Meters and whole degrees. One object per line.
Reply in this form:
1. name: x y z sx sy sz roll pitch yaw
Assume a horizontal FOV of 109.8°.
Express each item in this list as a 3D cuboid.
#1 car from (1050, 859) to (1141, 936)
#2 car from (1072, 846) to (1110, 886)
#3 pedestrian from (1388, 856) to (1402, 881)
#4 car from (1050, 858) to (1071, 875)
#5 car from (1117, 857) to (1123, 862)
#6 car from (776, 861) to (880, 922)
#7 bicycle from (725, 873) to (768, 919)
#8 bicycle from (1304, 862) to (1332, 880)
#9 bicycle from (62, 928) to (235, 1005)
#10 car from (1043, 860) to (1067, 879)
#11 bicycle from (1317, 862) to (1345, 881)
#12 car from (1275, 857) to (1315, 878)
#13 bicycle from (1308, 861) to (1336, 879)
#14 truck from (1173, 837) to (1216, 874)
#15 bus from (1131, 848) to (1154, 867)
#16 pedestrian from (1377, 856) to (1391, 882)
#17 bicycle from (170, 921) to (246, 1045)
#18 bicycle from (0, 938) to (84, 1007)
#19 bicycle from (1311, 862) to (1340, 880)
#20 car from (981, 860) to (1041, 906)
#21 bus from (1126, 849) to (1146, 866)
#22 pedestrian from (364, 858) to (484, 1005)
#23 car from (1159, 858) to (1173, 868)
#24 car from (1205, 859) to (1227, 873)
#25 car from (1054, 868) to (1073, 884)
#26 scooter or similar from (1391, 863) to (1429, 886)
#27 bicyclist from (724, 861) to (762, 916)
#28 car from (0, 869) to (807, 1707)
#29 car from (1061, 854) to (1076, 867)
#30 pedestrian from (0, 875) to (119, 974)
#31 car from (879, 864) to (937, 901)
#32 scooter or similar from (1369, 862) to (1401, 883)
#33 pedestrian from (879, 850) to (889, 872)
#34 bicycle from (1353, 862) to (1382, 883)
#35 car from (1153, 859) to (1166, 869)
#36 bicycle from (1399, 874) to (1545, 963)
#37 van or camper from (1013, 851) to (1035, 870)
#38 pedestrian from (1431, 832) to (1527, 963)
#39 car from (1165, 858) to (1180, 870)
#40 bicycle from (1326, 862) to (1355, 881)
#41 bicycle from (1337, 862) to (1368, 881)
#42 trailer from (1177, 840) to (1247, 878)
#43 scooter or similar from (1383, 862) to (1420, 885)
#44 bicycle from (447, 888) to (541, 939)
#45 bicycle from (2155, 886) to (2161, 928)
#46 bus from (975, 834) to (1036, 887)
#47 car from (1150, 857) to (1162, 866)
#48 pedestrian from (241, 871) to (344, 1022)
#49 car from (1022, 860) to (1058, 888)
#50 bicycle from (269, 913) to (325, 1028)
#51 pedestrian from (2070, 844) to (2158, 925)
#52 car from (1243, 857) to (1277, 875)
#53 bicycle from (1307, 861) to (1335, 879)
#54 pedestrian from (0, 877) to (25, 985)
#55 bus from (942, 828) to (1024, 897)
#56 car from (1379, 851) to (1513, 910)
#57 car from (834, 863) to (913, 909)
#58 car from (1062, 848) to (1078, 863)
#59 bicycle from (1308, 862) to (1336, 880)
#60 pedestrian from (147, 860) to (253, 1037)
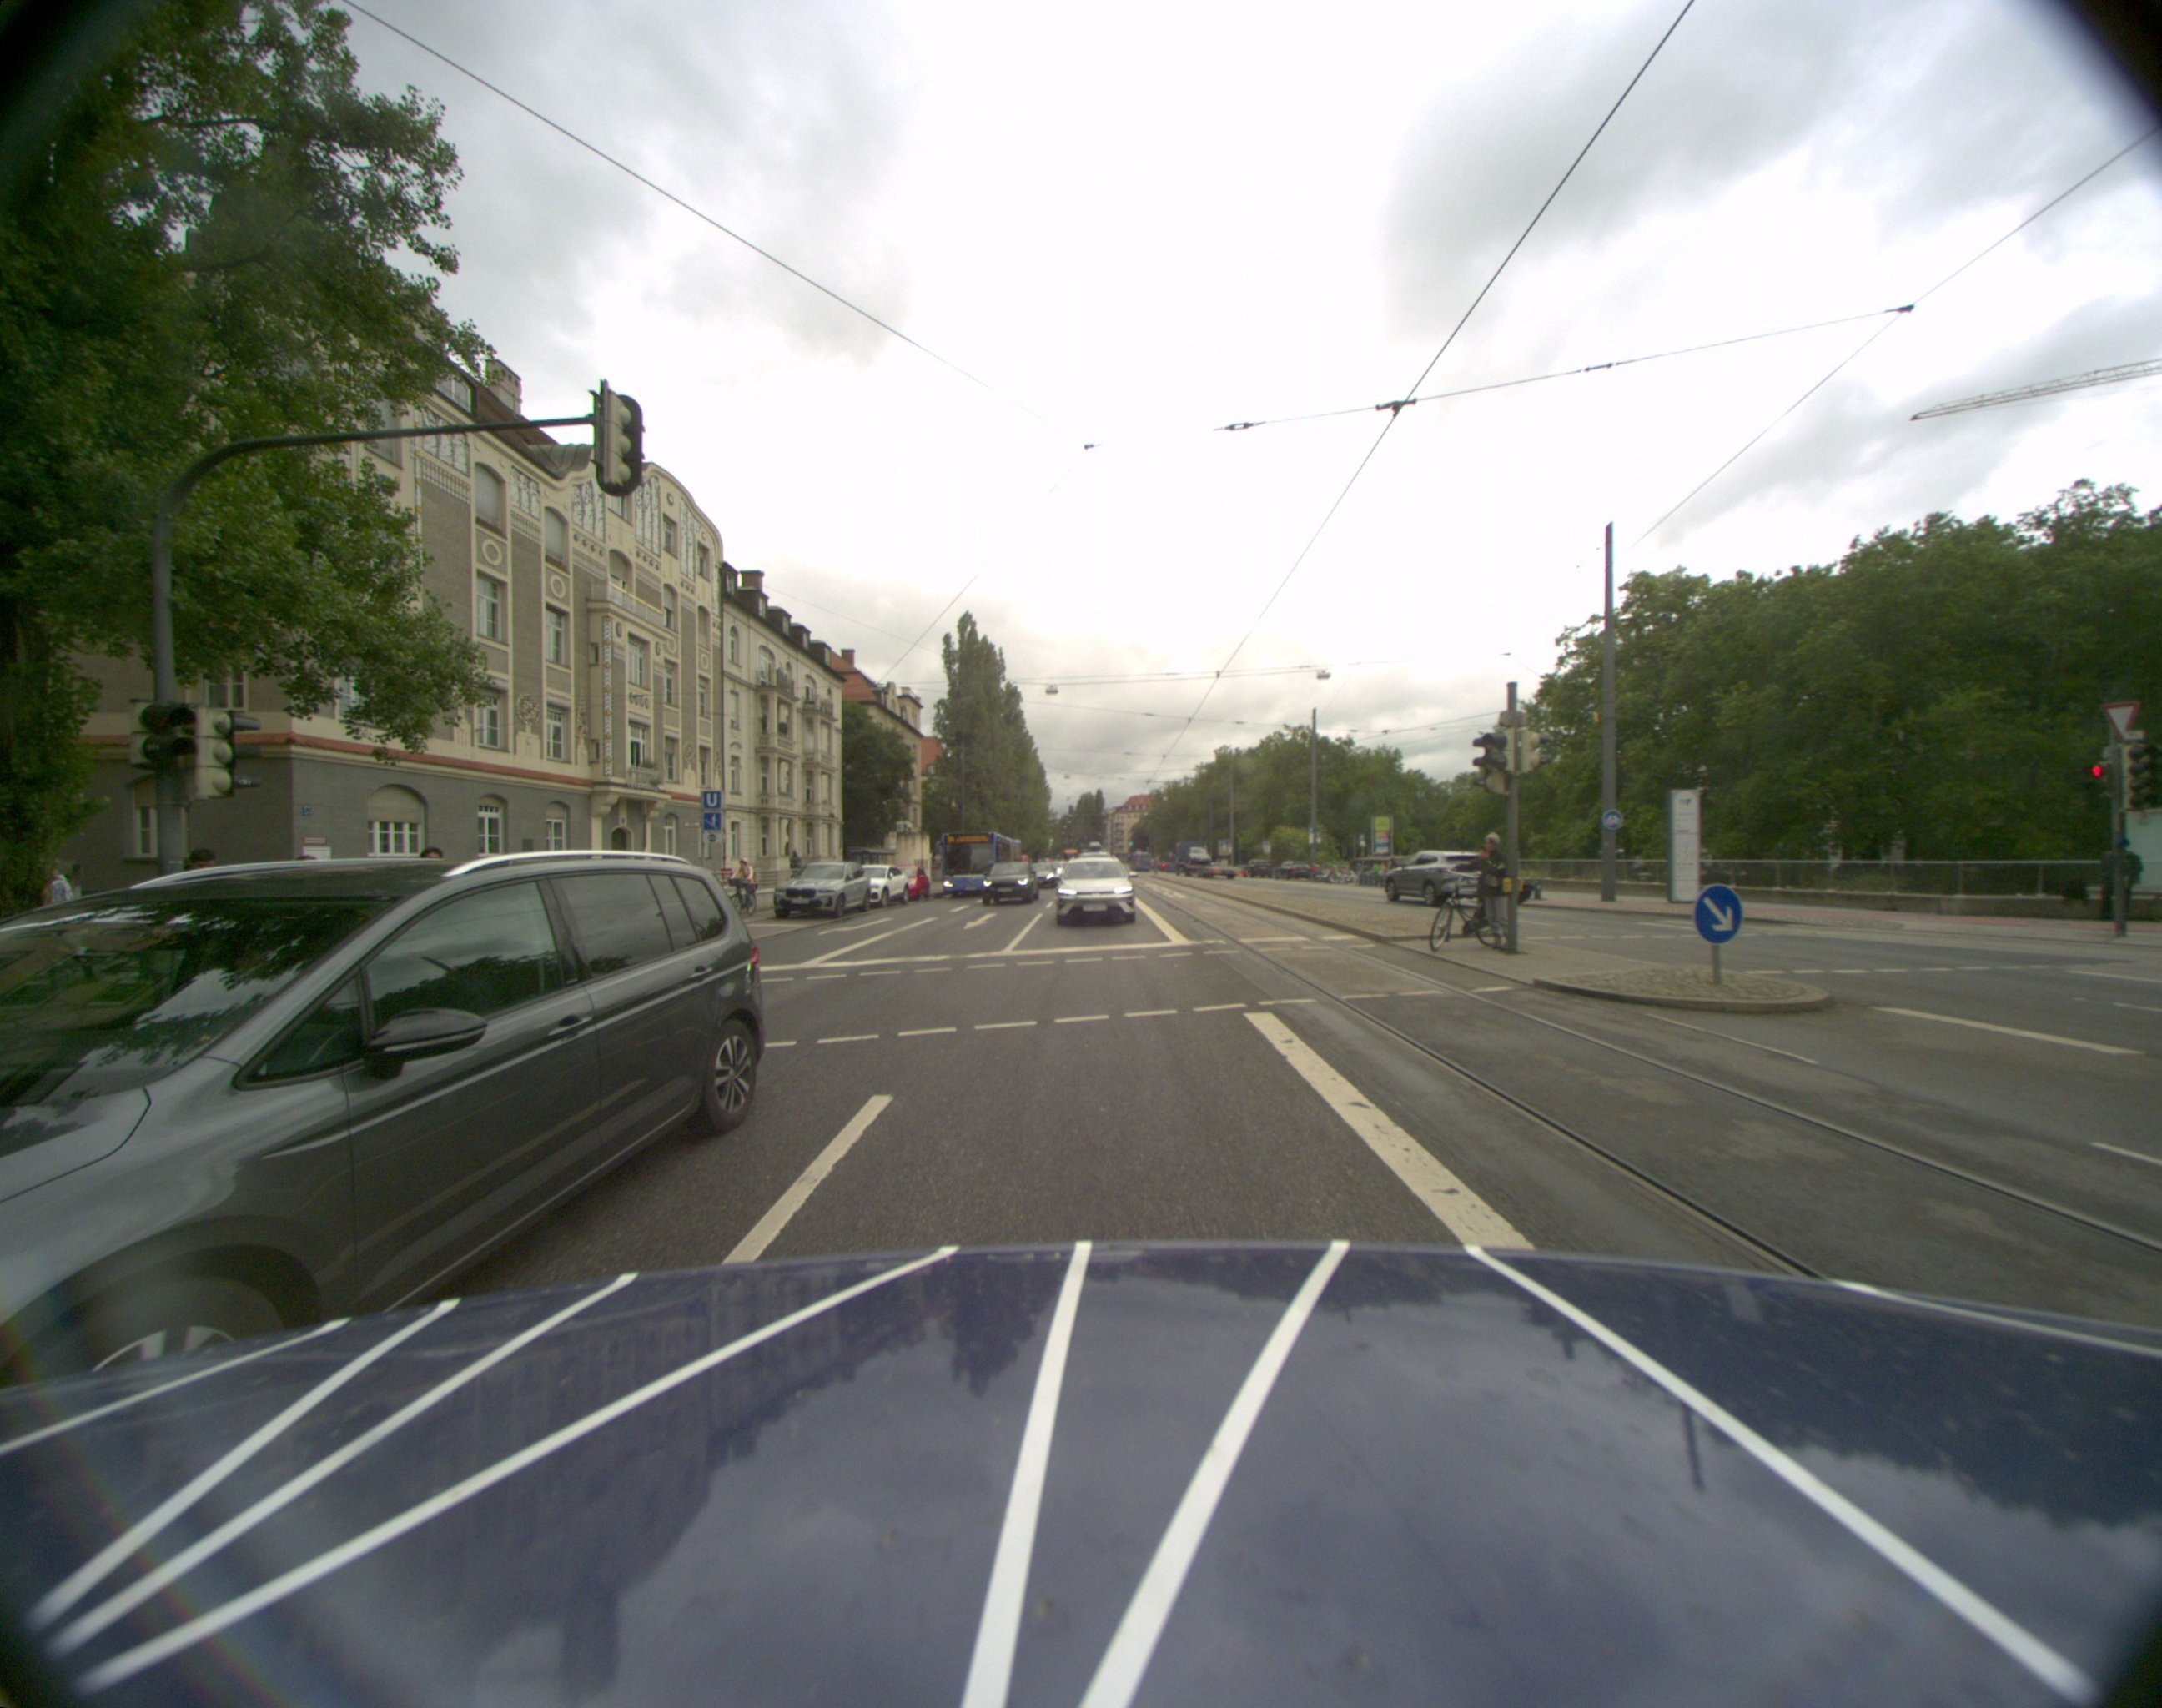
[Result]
1. car: 0.393 0.896 17.940 1.812 1.496 4.953 -1 0 2
2. car: 0.568 0.649 42.149 1.998 2.100 4.000 -1 0 1
3. pedestrian: 19.192 0.874 46.470 0.632 1.549 0.589 0 0 0
4. car: -1.710 1.087 64.029 1.704 1.379 3.632 0 -1 0
5. car: 11.862 1.582 230.712 1.628 1.473 3.603 0 0 1
6. car: -7.763 1.078 23.760 1.737 1.651 4.502 0 0 0
7. bicycle: -9.970 1.233 22.724 0.424 1.280 1.779 -1 0 2
8. bicycle: 15.725 1.096 50.437 1.693 1.165 0.505 0 0 -6
9. bicycle: -12.308 1.476 10.039 1.837 0.911 0.392 -2 1 2
10. car: -1.972 1.183 58.817 1.704 1.360 3.632 0 0 1
11. bicycle: 15.865 1.091 48.220 1.693 1.165 0.505 0 0 -9
12. car: 15.891 0.964 56.568 1.864 1.517 4.233 0 0 1
13. bicycle: 16.196 1.075 51.029 1.692 1.165 0.505 0 0 -3
14. truck: 10.077 0.139 68.153 2.572 3.069 7.690 1 0 -1
15. bus: 10.145 0.639 126.459 2.632 2.949 13.415 1 0 -1
16. pedestrian: 18.500 0.911 46.390 0.632 1.549 0.589 0 0 0
17. bicycle: -9.310 1.321 8.086 1.740 1.096 0.360 0 1 36
18. bicycle: -14.120 1.555 9.929 1.576 0.830 0.392 -2 1 -2
19. bicycle: 15.820 1.092 49.153 1.693 1.165 0.561 0 0 -9
20. car: -2.508 1.025 28.103 1.780 1.495 3.970 -2 0 1
21. bus: 10.024 0.641 139.587 2.632 2.949 12.844 1 0 -1
22. pedestrian: -8.414 0.959 9.752 0.881 1.791 0.757 -1 0 12
23. car: 13.590 1.409 121.436 1.809 1.633 4.000 0 0 1
24. car: 15.563 1.376 87.775 1.893 1.521 4.000 0 0 1
25. car: -1.685 2.106 72.882 1.704 1.513 3.632 0 0 0
26. scooter or similar: 16.974 1.043 39.233 1.692 1.165 0.562 0 0 -1
27. bicyclist: -10.006 1.010 22.512 0.681 1.594 0.939 0 1 1
28. car: -2.869 0.932 2.924 1.776 1.637 4.708 0 0 2
29. car: -1.480 0.778 89.688 1.704 1.513 3.632 0 0 0
30. pedestrian: -18.576 1.253 13.846 0.748 1.704 1.017 0 1 1
31. car: -7.568 1.215 33.560 1.730 1.500 3.742 0 0 0
32. scooter or similar: 17.031 1.040 42.597 1.695 1.165 0.561 0 0 -18
33. pedestrian: -17.050 0.587 65.705 0.609 1.885 0.673 0 1 3
34. bicycle: 16.468 1.065 43.687 1.696 1.165 0.560 0 0 -28
35. car: 13.441 1.637 130.270 1.809 1.633 4.000 0 0 1
36. bicycle: 5.812 0.925 11.273 2.233 1.143 0.505 -2 1 -19
37. van or camper: -6.590 0.768 88.782 2.124 2.086 5.514 0 0 0
38. pedestrian: 5.823 0.596 11.139 0.862 1.801 0.895 -2 1 -29
39. car: 13.571 1.475 112.423 1.809 1.633 4.000 0 0 1
40. bicycle: 16.184 1.077 47.394 1.693 1.165 0.561 0 0 -9
41. bicycle: 16.524 1.062 46.225 1.693 1.165 0.561 0 0 -9
42. trailer: 10.162 0.357 60.995 2.617 2.666 15.638 1 0 -1
43. scooter or similar: 17.047 1.040 40.416 1.692 1.165 0.562 0 0 -1
44. bicycle: -15.241 1.518 19.761 1.890 1.147 0.464 -2 1 -41
45. bicycle: 23.364 1.146 15.510 0.479 0.889 1.850 0 0 9
46. bus: -4.570 0.375 47.672 2.637 2.956 8.534 -2 0 1
47. car: 13.716 1.359 139.300 1.809 1.674 4.000 0 0 1
48. pedestrian: -9.069 1.017 8.774 0.758 1.628 0.699 -1 0 -42
49. car: -2.258 1.096 42.825 1.704 1.424 4.245 -3 0 1
50. bicycle: -8.973 1.284 8.725 0.360 1.096 1.740 -1 1 -43
51. pedestrian: 22.408 0.649 16.497 0.735 1.706 0.861 0 1 11
52. car: 15.675 1.044 66.696 1.998 1.561 4.102 0 0 1
53. bicycle: 16.298 1.082 51.593 1.692 1.165 0.562 0 0 -2
54. pedestrian: -17.249 1.210 11.618 0.748 1.675 1.017 0 1 1
55. bus: -4.747 0.387 38.673 2.637 2.956 9.467 -2 0 1
56. car: 11.244 0.756 23.815 1.868 1.629 4.677 1 0 -1
57. car: -7.665 1.151 28.440 1.730 1.567 3.967 0 0 3
58. car: -1.946 0.260 139.503 2.806 2.836 5.114 0 0 1
59. bicycle: 15.795 1.093 49.738 1.693 1.165 0.505 0 0 -7
60. pedestrian: -9.380 0.960 8.093 0.699 1.770 0.652 -1 0 35
